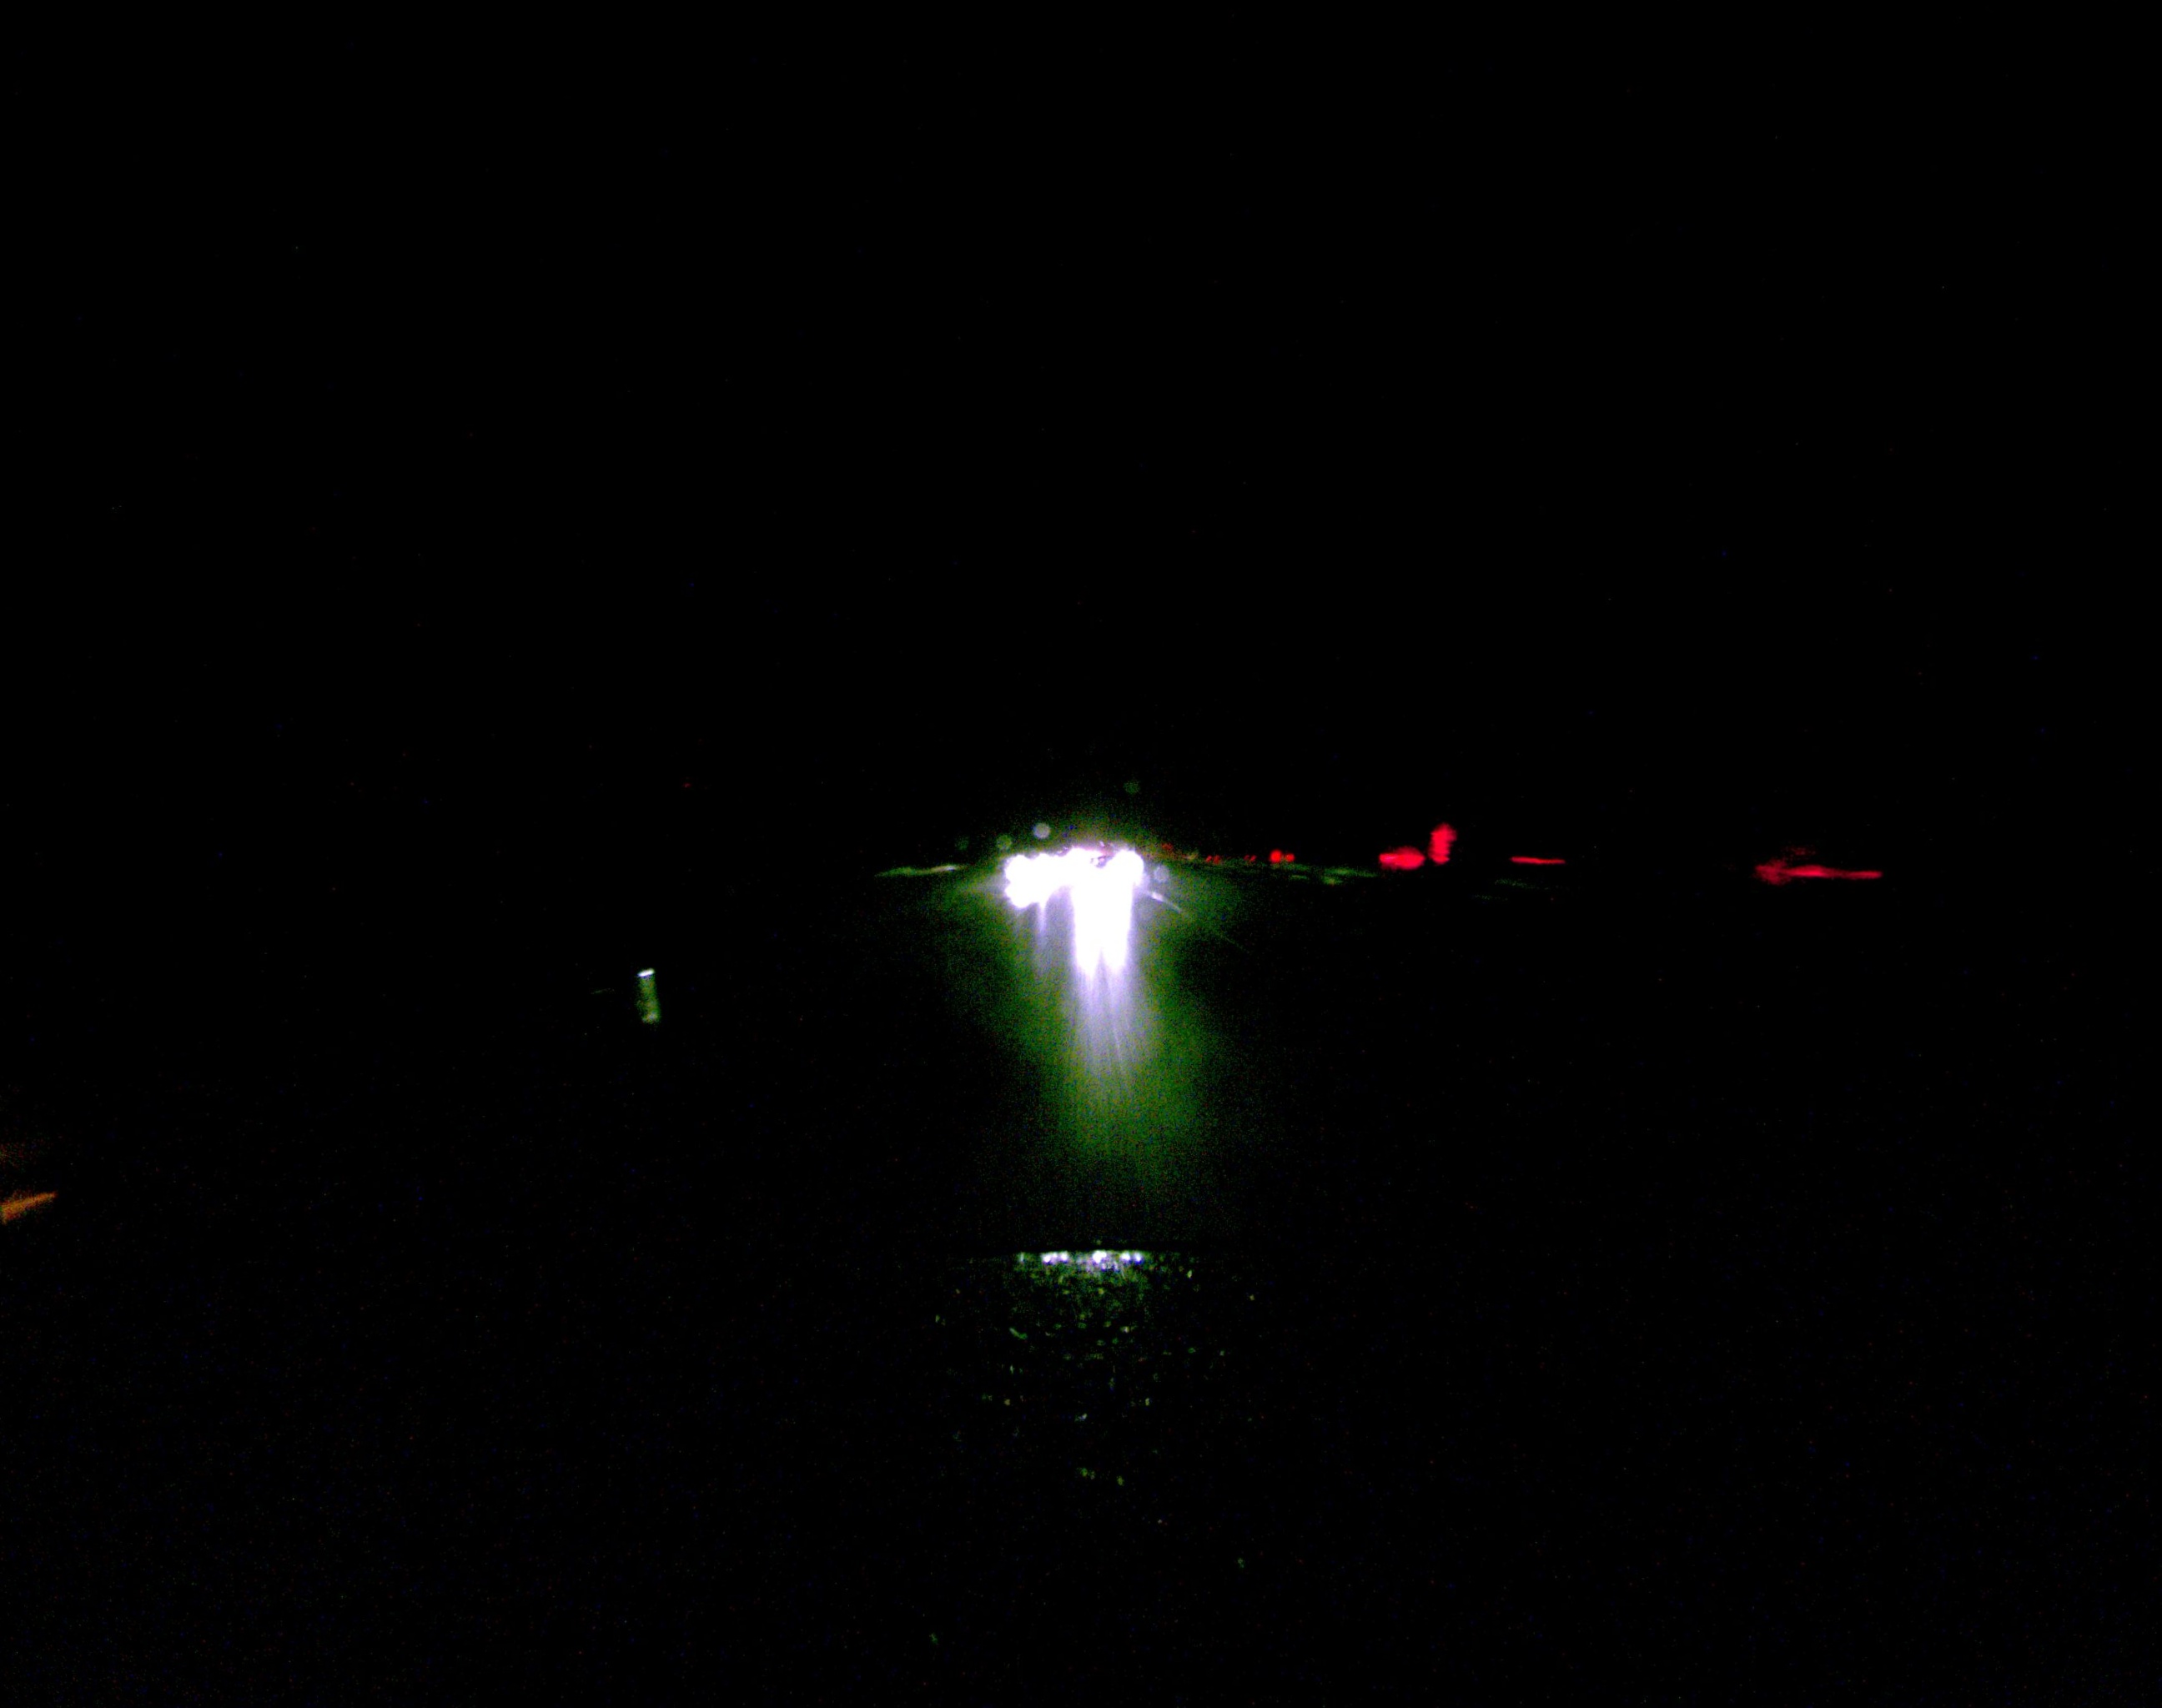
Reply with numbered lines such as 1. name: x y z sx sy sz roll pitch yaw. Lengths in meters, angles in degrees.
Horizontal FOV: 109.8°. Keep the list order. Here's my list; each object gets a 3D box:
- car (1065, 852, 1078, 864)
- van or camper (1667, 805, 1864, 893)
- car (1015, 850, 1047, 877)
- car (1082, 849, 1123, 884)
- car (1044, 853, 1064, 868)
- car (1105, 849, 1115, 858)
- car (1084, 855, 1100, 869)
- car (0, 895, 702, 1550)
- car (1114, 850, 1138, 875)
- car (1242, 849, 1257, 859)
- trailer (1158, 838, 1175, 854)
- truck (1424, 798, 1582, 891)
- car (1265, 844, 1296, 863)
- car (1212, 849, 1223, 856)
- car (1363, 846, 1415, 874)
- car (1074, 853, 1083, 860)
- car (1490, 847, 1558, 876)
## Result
1. car: -1.680 0.708 132.554 1.998 1.852 3.999 -2 1 1
2. van or camper: 32.197 -0.266 36.288 2.520 3.680 7.678 -2 1 1
3. car: -3.351 0.625 51.560 1.792 1.681 3.999 -2 1 1
4. car: 1.080 0.585 39.989 1.960 1.655 4.915 -2 0 1
5. car: -3.150 0.702 89.249 1.998 1.590 4.652 -2 1 3
6. car: 5.930 -0.129 155.849 1.800 1.728 3.999 -2 1 1
7. car: 1.427 1.090 101.685 1.998 1.723 3.804 -2 1 1
8. car: -3.591 1.043 3.191 1.774 1.449 4.195 -2 0 1
9. car: 3.459 0.592 58.904 1.611 1.775 3.910 -2 1 1
10. car: 29.257 -0.036 132.059 1.766 1.679 3.999 -2 1 1
11. trailer: 27.093 -2.554 242.674 3.798 4.999 14.799 -2 1 1
12. truck: 33.270 -0.786 61.492 3.231 6.375 17.301 -2 1 1
13. car: 21.728 -0.081 82.919 2.079 1.879 5.268 -2 1 1
14. car: 30.277 -0.310 169.003 1.805 1.564 3.999 -2 1 1
15. car: 21.338 0.384 52.830 1.668 1.788 4.756 -2 1 1
16. car: -0.657 0.536 180.547 1.998 1.564 3.806 -2 1 1
17. car: 27.005 0.401 46.477 1.680 1.618 4.204 -2 1 1
